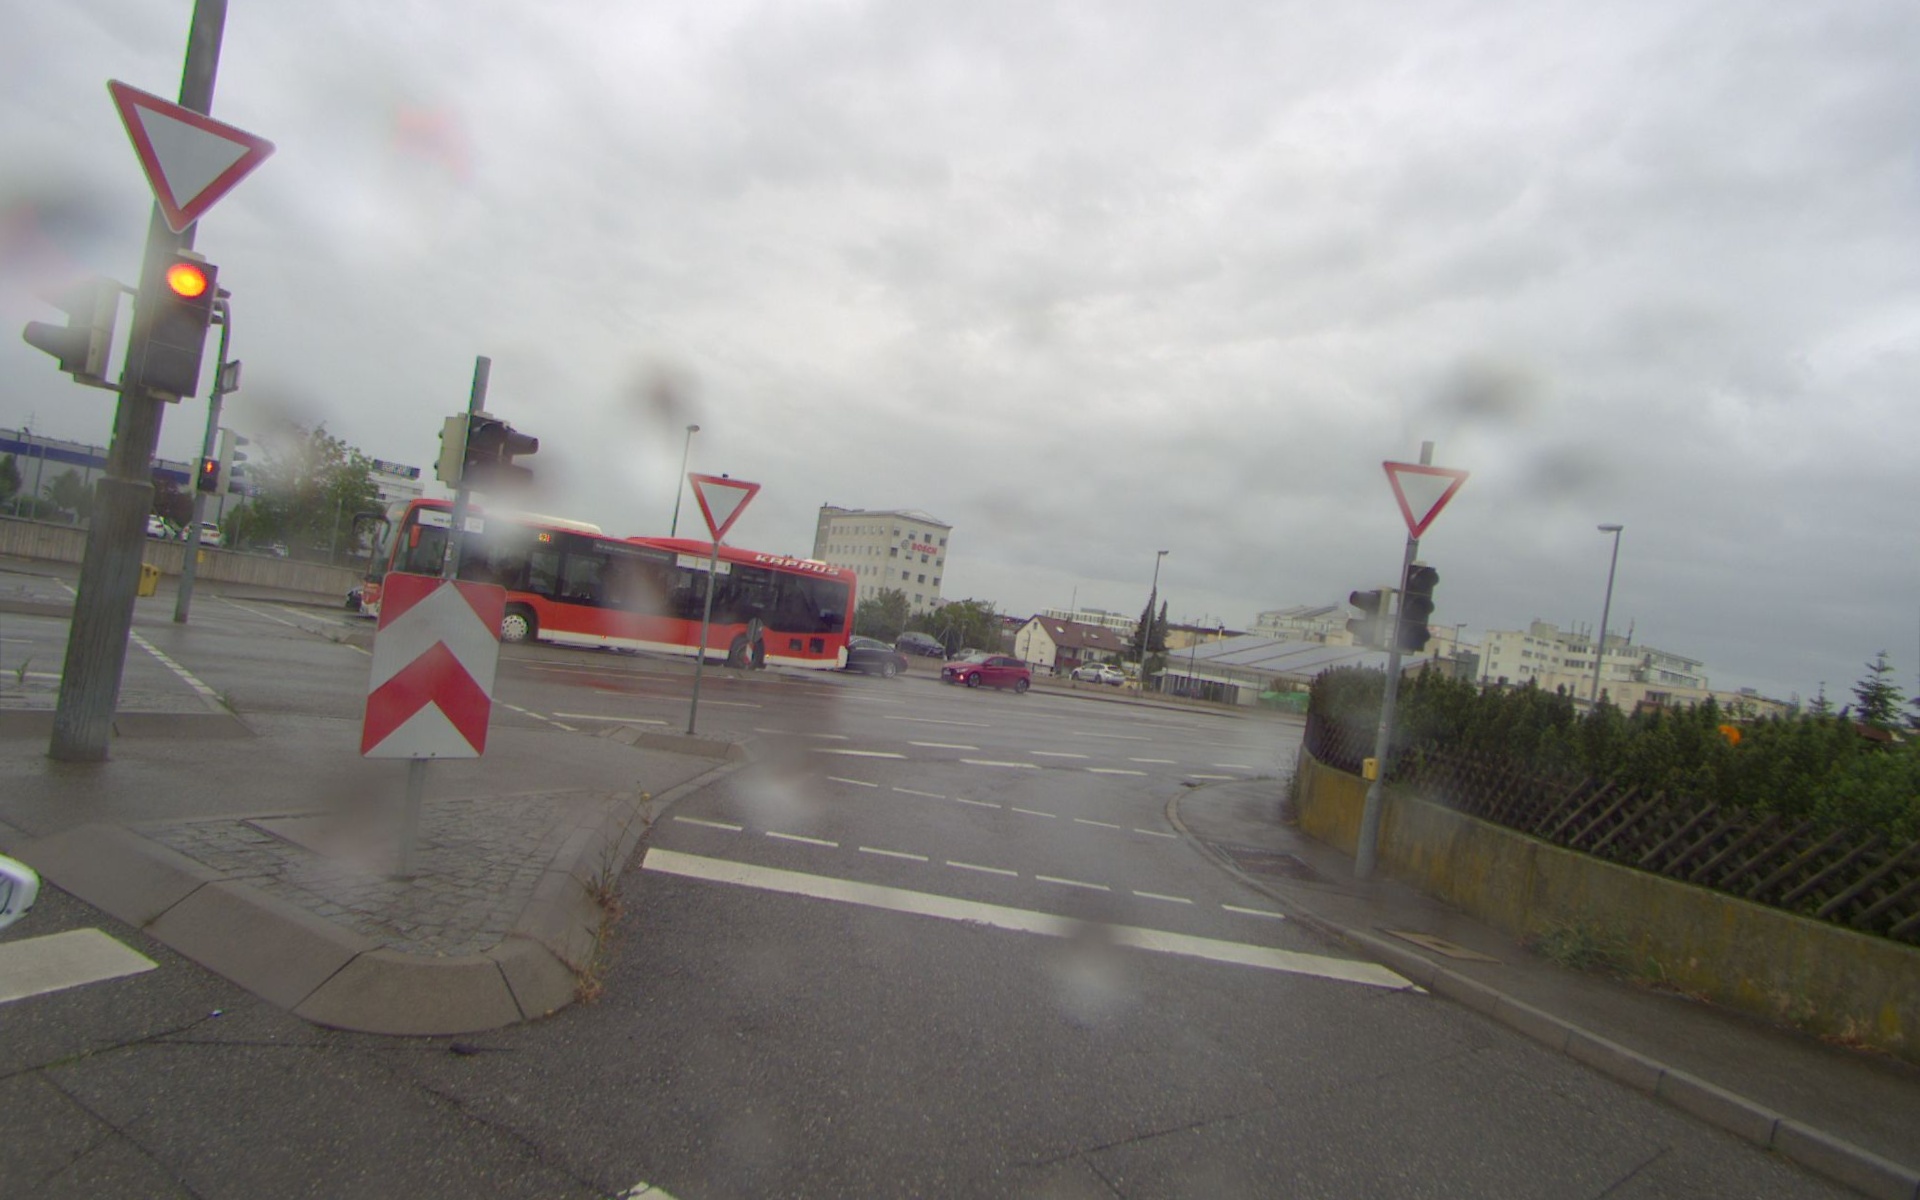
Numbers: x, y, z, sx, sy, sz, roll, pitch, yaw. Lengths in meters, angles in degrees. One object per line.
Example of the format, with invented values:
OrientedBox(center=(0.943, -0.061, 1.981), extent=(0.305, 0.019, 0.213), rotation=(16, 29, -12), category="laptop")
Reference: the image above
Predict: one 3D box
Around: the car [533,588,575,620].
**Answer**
OrientedBox(center=(-31.932, 0.303, 79.133), extent=(1.983, 2.037, 3.962), rotation=(8, -2, -36), category="car")

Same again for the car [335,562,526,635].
OrientedBox(center=(-14.812, -0.015, 28.290), extent=(4.367, 1.370, 1.804), rotation=(10, -3, -42), category="car")

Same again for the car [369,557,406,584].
OrientedBox(center=(-41.581, -2.162, 73.049), extent=(1.912, 1.607, 3.754), rotation=(9, -2, -34), category="car")

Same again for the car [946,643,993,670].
OrientedBox(center=(0.780, 4.689, 83.724), extent=(1.980, 1.636, 3.970), rotation=(9, -2, -30), category="car")

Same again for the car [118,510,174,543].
OrientedBox(center=(-45.620, -4.107, 56.451), extent=(1.805, 1.450, 4.071), rotation=(8, -2, -32), category="car")

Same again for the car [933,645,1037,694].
OrientedBox(center=(1.064, 2.918, 42.088), extent=(3.948, 1.525, 1.853), rotation=(9, -2, -36), category="car")

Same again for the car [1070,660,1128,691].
OrientedBox(center=(9.646, 5.222, 70.125), extent=(1.976, 1.561, 3.977), rotation=(9, -2, -25), category="car")

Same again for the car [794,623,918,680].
OrientedBox(center=(-3.898, 1.980, 38.193), extent=(4.367, 1.555, 1.804), rotation=(10, -3, -42), category="car")

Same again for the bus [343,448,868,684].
OrientedBox(center=(-8.328, -0.453, 25.868), extent=(12.223, 3.614, 2.952), rotation=(12, -4, -41), category="bus")

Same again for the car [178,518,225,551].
OrientedBox(center=(-43.833, -3.753, 58.220), extent=(1.847, 1.543, 4.066), rotation=(8, -2, -35), category="car")

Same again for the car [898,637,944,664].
OrientedBox(center=(-3.187, 4.073, 81.436), extent=(1.980, 1.636, 3.970), rotation=(9, -2, -30), category="car")

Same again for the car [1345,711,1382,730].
OrientedBox(center=(41.175, 12.279, 102.564), extent=(3.616, 1.436, 1.720), rotation=(10, -2, -36), category="car")

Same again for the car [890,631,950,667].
OrientedBox(center=(-2.495, 2.993, 61.701), extent=(1.912, 1.684, 3.869), rotation=(9, -2, -29), category="car")
